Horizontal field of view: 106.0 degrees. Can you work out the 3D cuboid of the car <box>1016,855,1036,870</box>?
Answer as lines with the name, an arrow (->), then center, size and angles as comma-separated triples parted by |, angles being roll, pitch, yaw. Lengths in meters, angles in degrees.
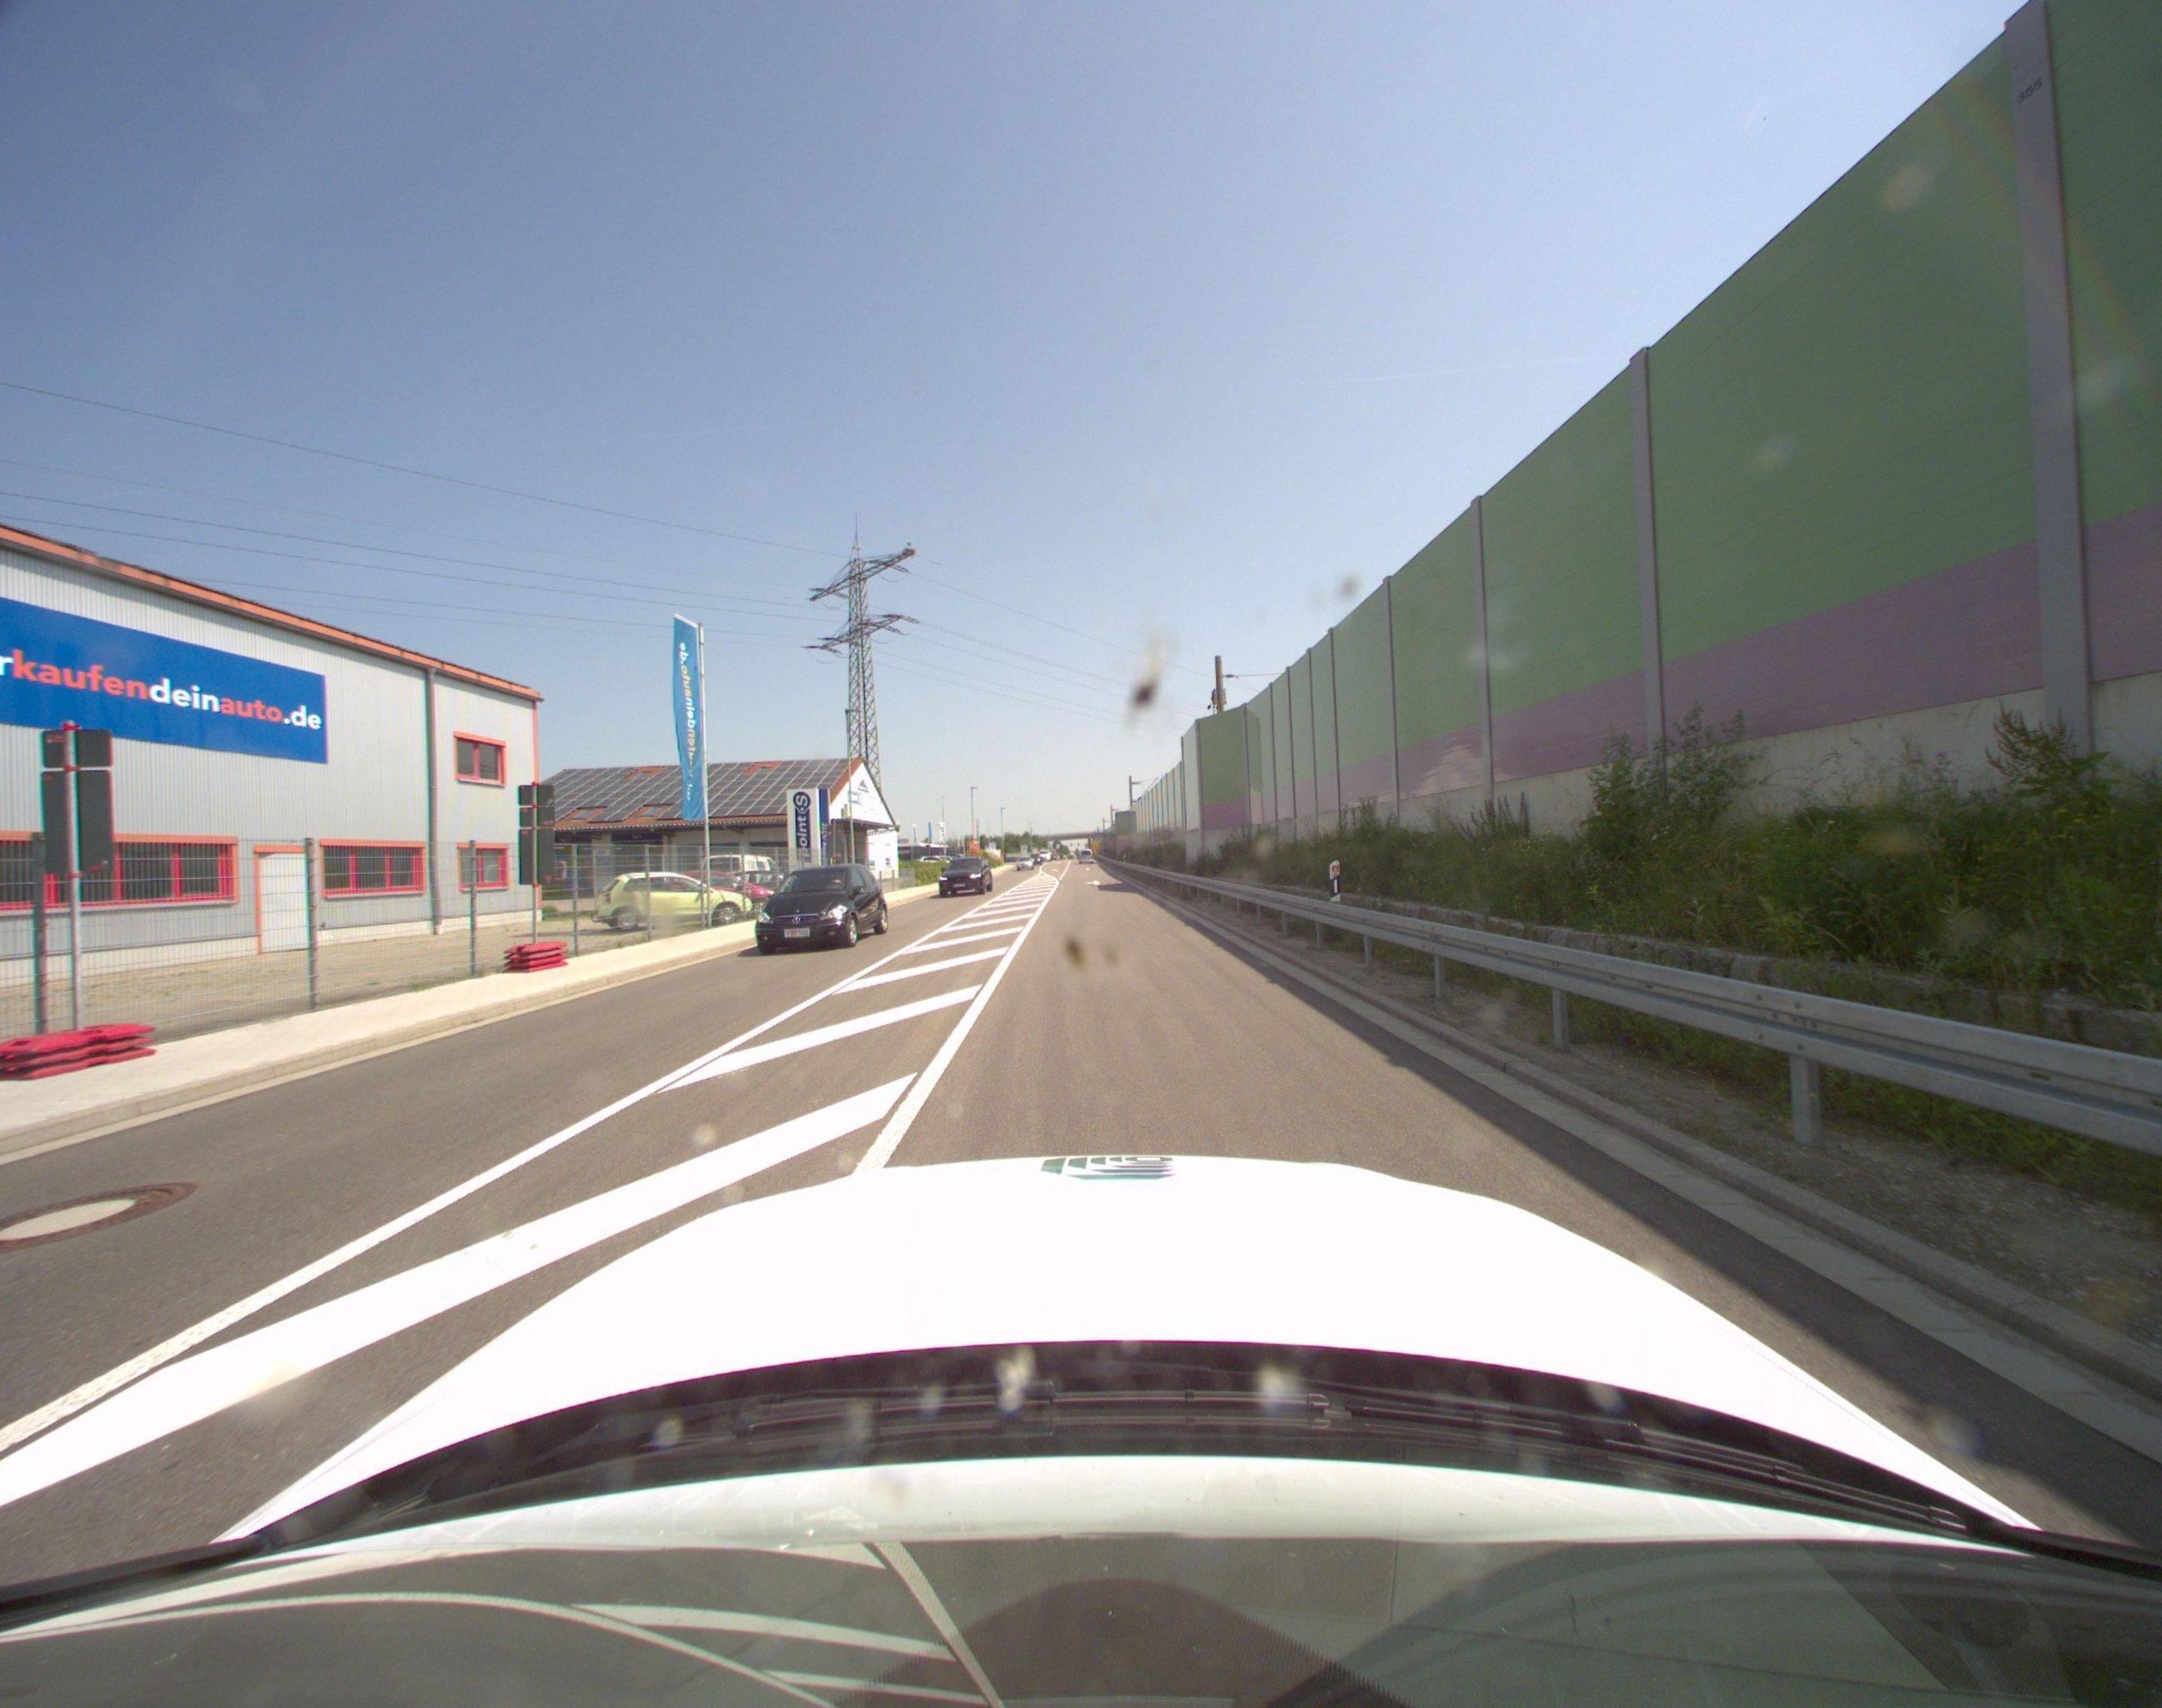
car -> -5.875, 0.862, 87.007 | 1.759, 1.466, 4.257 | -4, 0, -1

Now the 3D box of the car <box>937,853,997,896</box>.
car -> -4.964, 0.853, 36.068 | 1.875, 1.616, 4.522 | -5, 0, 1

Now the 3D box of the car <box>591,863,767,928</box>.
car -> -11.063, 1.079, 22.541 | 4.111, 1.493, 1.725 | -2, 0, -36

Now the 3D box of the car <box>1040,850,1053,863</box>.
car -> -5.498, 0.409, 129.435 | 1.989, 1.874, 5.163 | -3, 0, -3

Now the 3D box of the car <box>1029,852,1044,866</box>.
car -> -5.851, 0.656, 106.666 | 1.663, 1.600, 3.972 | -4, 0, 0

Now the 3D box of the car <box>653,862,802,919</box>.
car -> -10.985, 1.086, 25.383 | 4.015, 1.493, 1.726 | -2, 0, -33

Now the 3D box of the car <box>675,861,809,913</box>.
car -> -11.450, 1.073, 27.566 | 4.008, 1.493, 1.729 | -2, 0, -26

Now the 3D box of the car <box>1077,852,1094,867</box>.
car -> 0.646, 0.710, 103.617 | 1.986, 1.757, 4.001 | -2, 0, 2

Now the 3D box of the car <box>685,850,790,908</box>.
car -> -13.490, 0.957, 32.334 | 1.987, 2.014, 4.681 | -3, -1, 1

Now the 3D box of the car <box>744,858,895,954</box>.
car -> -5.144, 0.936, 16.550 | 1.736, 1.593, 3.795 | -4, 0, 0

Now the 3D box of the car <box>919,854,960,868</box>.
car -> -15.680, 0.787, 90.127 | 4.213, 1.456, 1.763 | 0, 0, -2

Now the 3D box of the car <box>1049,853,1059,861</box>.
car -> -5.068, 0.529, 151.842 | 1.666, 1.423, 3.999 | -5, 0, -1
